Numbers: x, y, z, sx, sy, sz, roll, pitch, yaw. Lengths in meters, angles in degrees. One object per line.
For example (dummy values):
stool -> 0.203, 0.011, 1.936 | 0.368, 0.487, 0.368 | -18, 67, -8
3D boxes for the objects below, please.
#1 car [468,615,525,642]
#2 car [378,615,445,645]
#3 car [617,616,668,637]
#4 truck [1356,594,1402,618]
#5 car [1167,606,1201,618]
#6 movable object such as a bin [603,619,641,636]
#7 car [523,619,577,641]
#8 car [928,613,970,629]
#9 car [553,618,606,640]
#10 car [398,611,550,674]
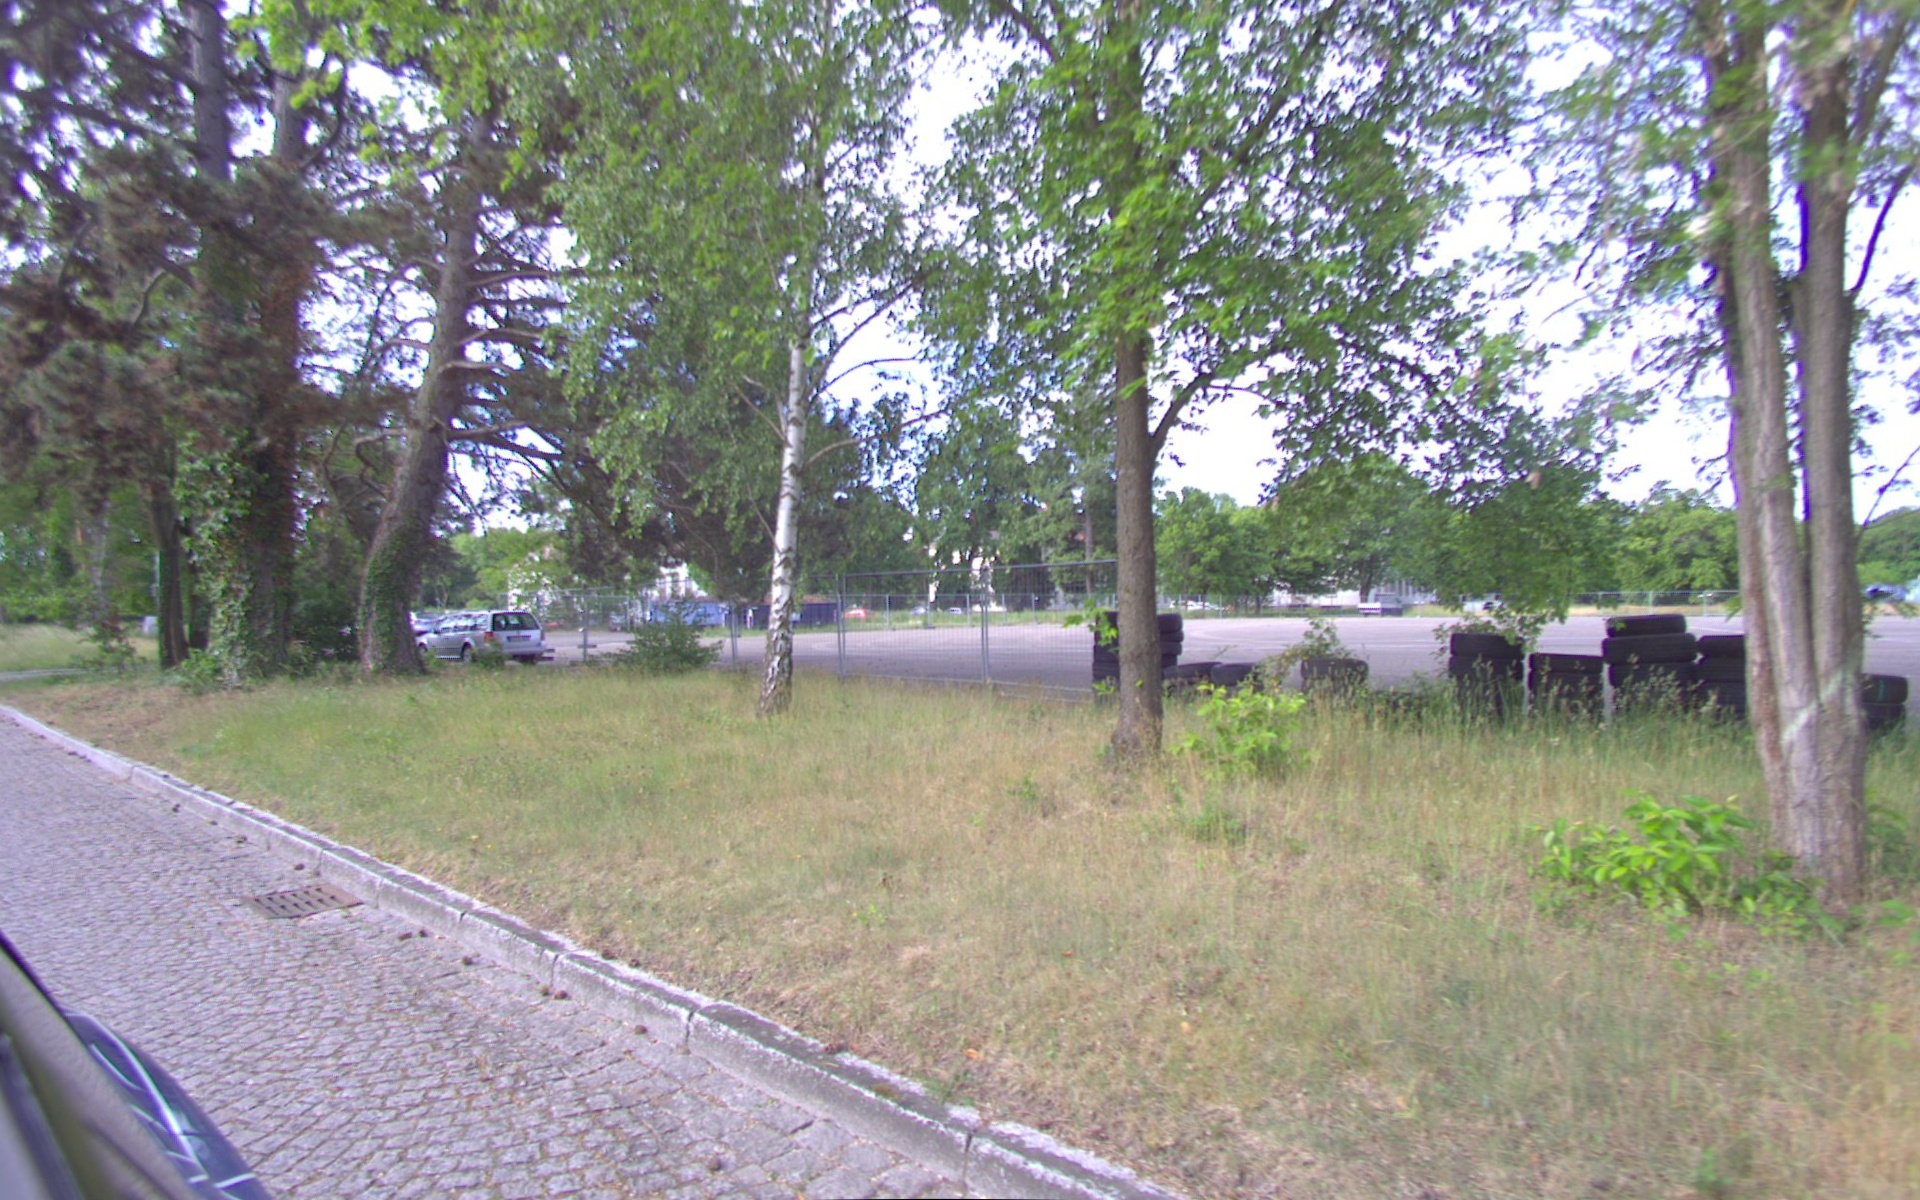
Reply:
car -> -29.564, 1.854, 64.520 | 4.111, 1.533, 1.714 | -4, -2, 41
car -> -32.627, 1.793, 60.125 | 4.578, 1.590, 1.817 | -4, -2, 38
car -> -26.621, 2.240, 84.796 | 4.578, 1.586, 1.817 | -4, -2, 38
truck -> 40.820, 0.574, 98.507 | 2.372, 2.215, 6.468 | -2, -1, 40
car -> 32.794, 1.761, 148.159 | 4.578, 1.645, 1.817 | -2, -1, 38
movable object such as a bin -> -18.963, 1.552, 56.786 | 1.930, 0.940, 1.029 | -2, -2, 34
car -> -31.700, 2.337, 78.247 | 4.578, 1.533, 1.817 | -4, -2, 38
car -> -1.280, 2.399, 114.008 | 4.578, 1.533, 1.817 | -4, -2, 38
car -> -30.275, 2.276, 80.435 | 4.578, 1.533, 1.817 | -4, -2, 38
car -> -12.406, 1.061, 25.721 | 4.461, 1.449, 1.699 | -2, -1, 38
